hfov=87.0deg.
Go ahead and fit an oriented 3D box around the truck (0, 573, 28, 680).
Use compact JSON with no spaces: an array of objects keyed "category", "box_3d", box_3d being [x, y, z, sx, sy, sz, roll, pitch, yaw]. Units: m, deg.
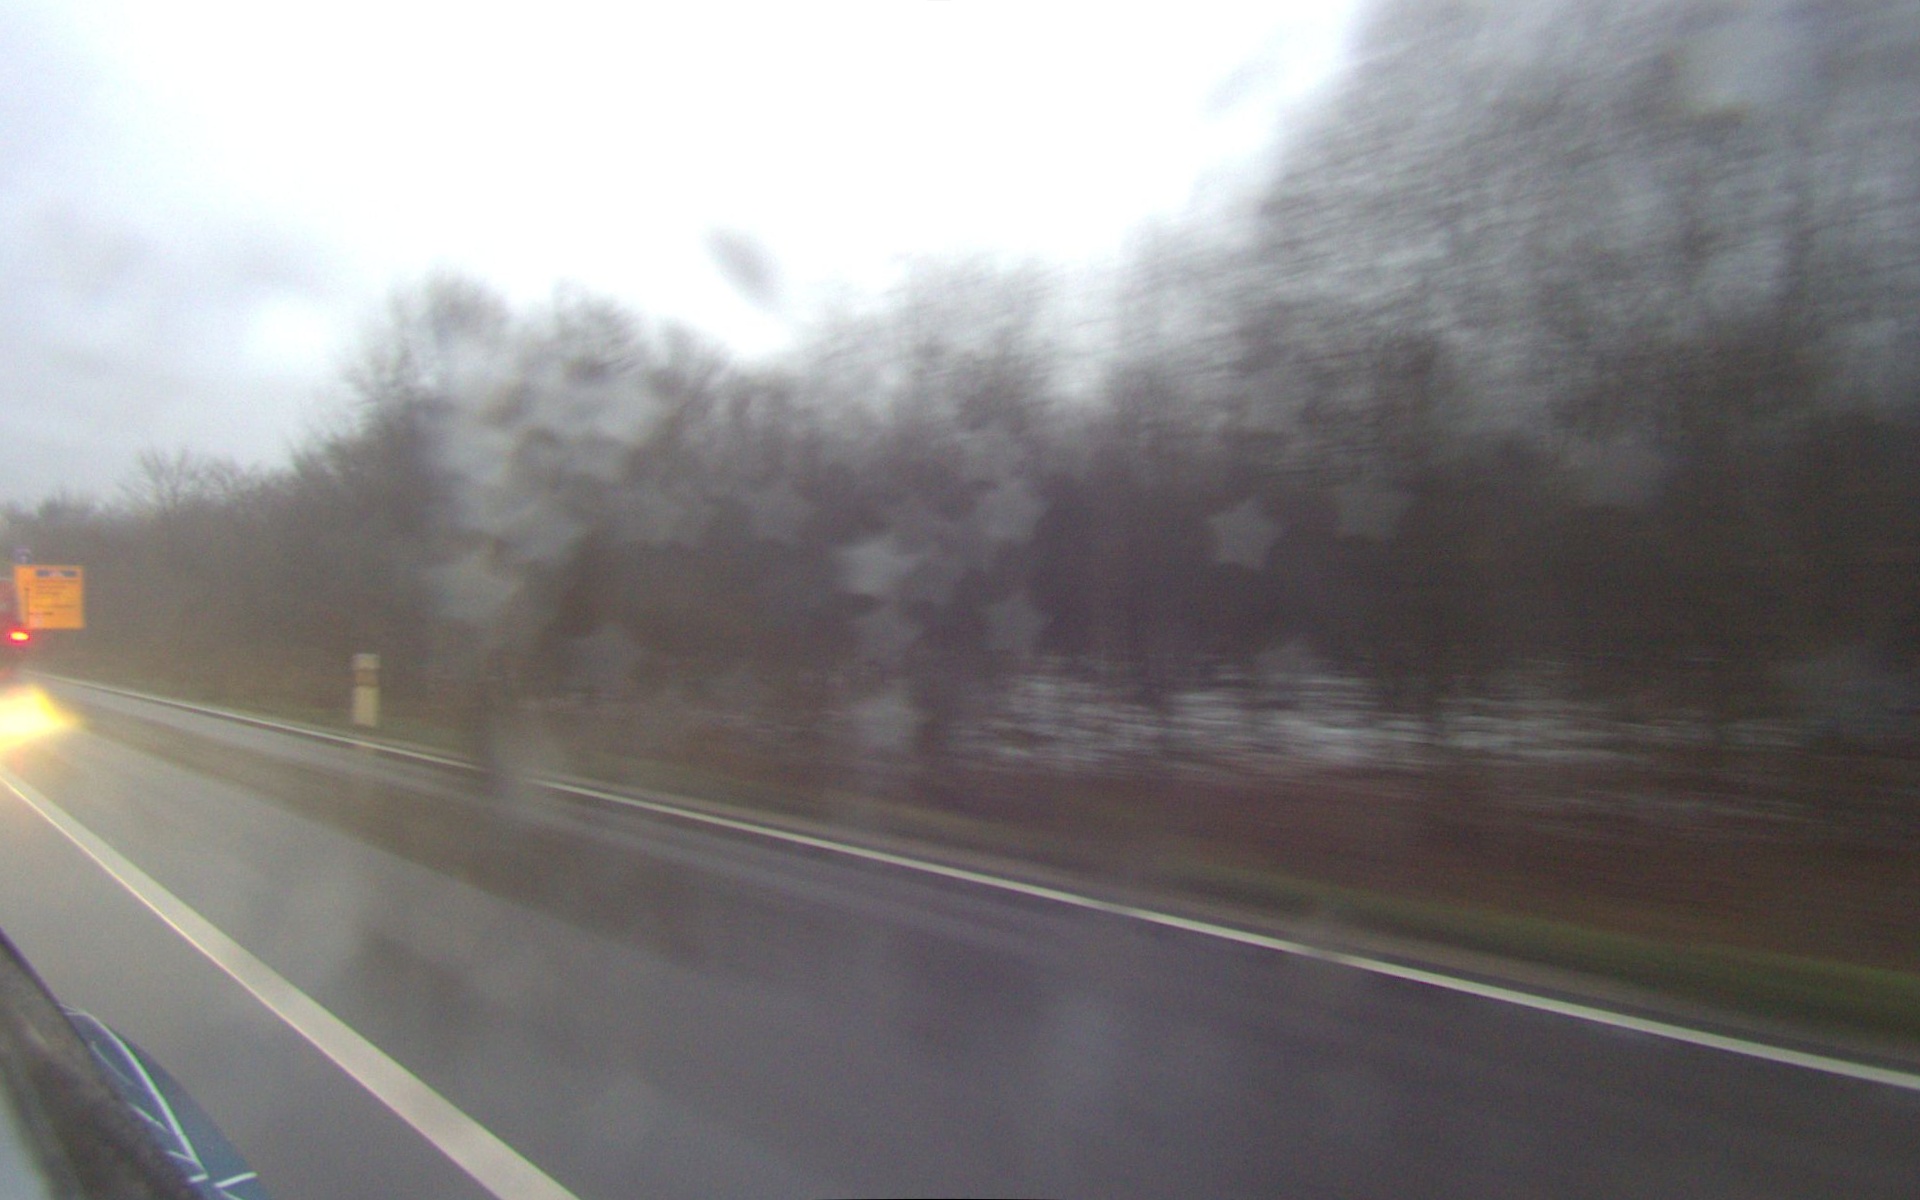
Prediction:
[{"category":"truck","box_3d":[-27.998,0.770,28.302,6.867,2.792,2.081,-1,0,41]}]
